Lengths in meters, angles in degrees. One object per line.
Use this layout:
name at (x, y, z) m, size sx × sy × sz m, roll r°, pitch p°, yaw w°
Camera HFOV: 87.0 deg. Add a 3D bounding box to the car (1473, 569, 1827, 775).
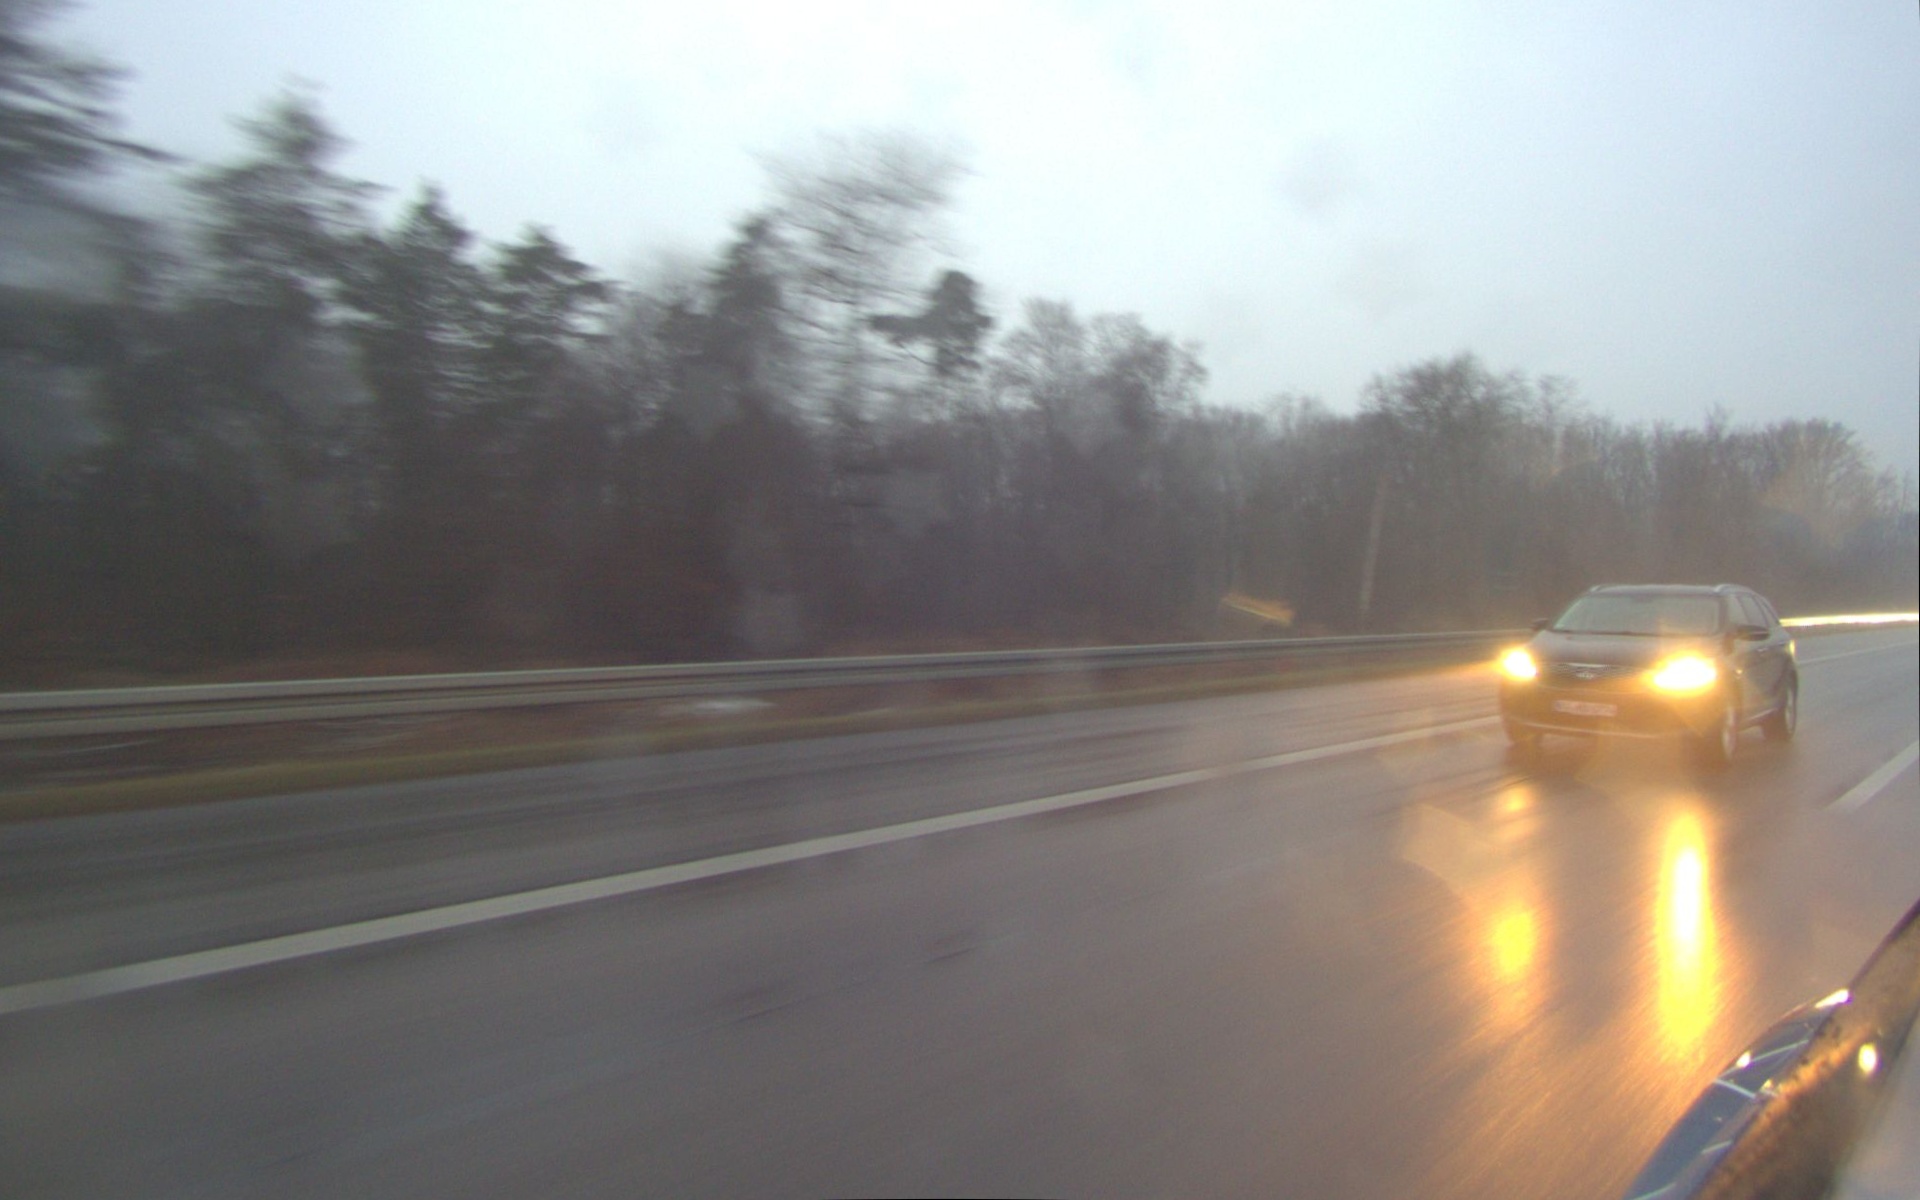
car at (7.405, 0.583, 10.697) m, size 4.383 × 1.719 × 2.074 m, roll 0°, pitch 1°, yaw -41°
